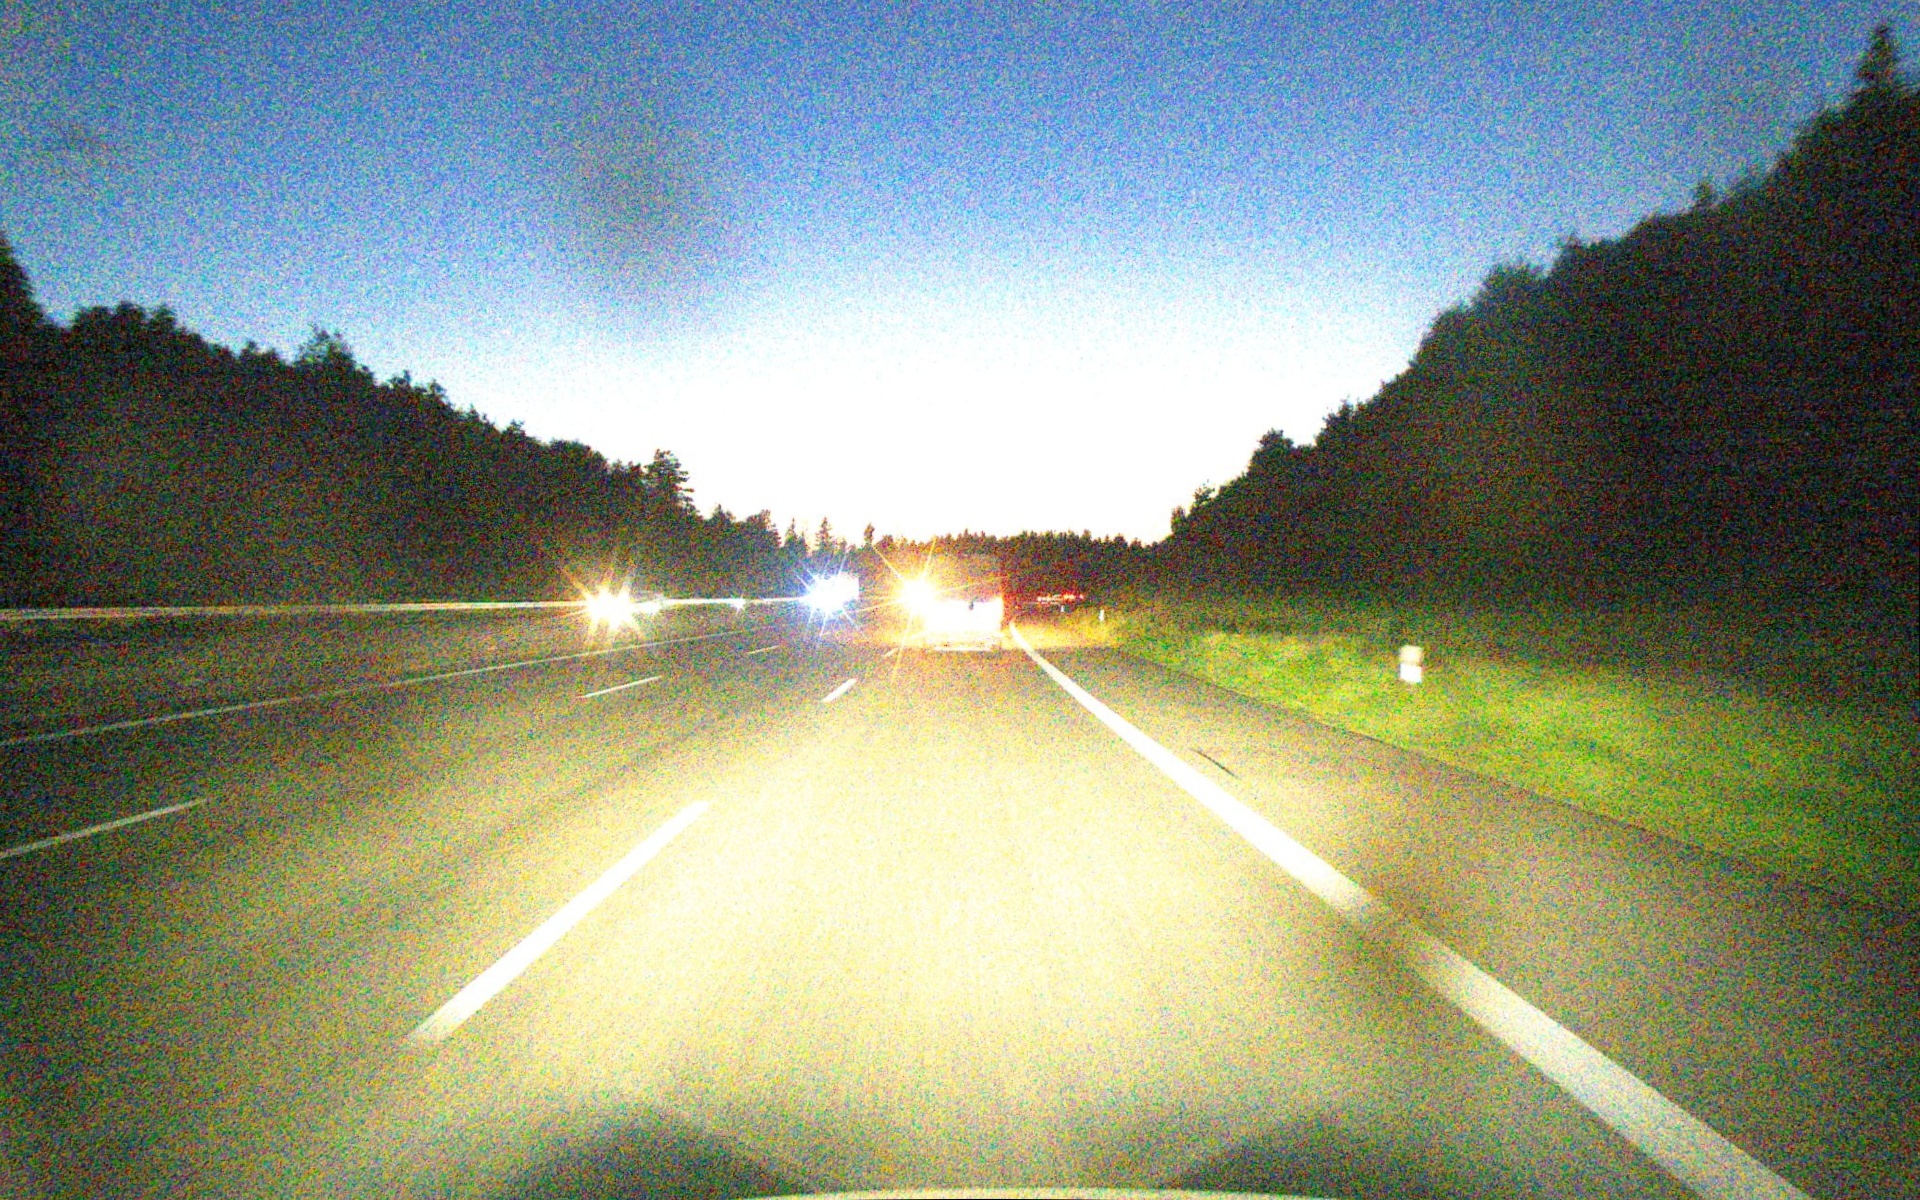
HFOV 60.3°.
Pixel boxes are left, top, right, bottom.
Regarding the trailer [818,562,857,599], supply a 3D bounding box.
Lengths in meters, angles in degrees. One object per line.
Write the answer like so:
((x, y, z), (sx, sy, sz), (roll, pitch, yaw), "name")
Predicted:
((-15.105, -2.318, 205.302), (2.632, 4.291, 17.259), (0, 0, 3), "trailer")

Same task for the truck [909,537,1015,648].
((0.046, -0.156, 44.575), (2.576, 2.670, 8.684), (0, 0, 0), "truck")

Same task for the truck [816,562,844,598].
((-15.490, -2.355, 197.277), (2.657, 4.272, 5.422), (0, 0, 3), "truck")

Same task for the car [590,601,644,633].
((-18.270, 0.906, 88.340), (1.953, 1.679, 4.399), (0, 0, 0), "car")

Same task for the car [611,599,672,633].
((-14.716, 0.740, 76.713), (1.952, 1.494, 4.208), (0, 0, 1), "car")
